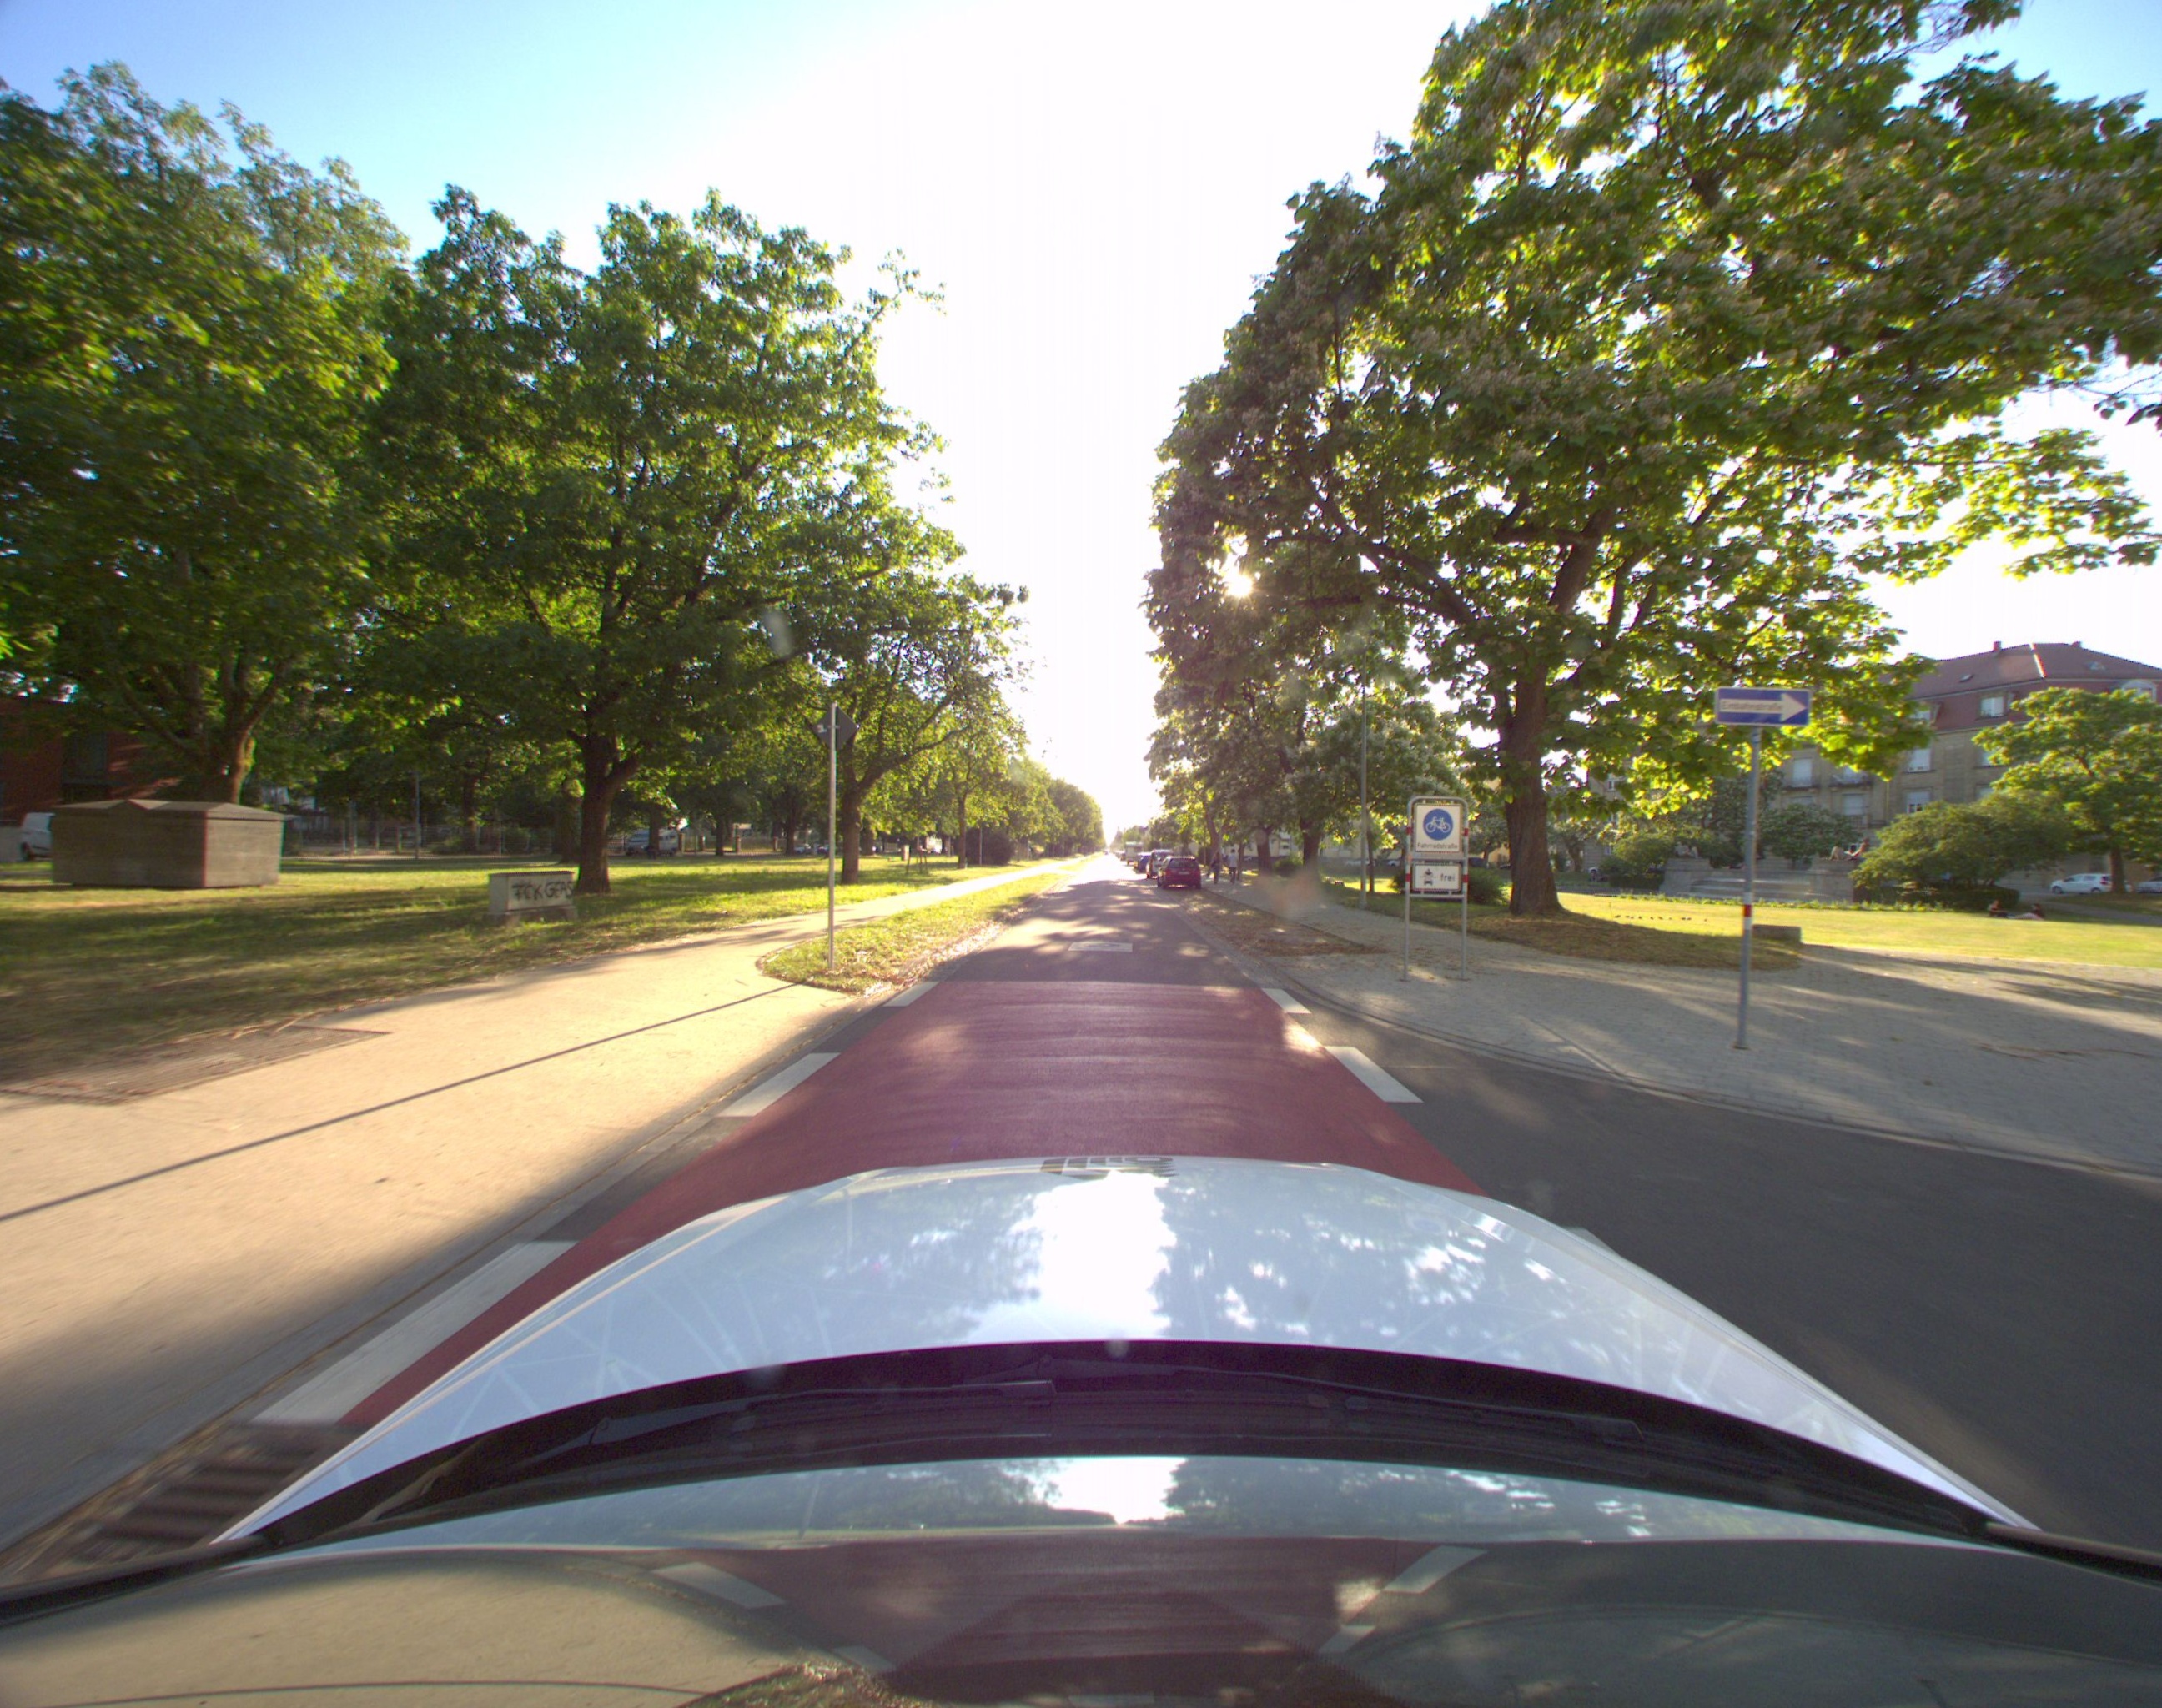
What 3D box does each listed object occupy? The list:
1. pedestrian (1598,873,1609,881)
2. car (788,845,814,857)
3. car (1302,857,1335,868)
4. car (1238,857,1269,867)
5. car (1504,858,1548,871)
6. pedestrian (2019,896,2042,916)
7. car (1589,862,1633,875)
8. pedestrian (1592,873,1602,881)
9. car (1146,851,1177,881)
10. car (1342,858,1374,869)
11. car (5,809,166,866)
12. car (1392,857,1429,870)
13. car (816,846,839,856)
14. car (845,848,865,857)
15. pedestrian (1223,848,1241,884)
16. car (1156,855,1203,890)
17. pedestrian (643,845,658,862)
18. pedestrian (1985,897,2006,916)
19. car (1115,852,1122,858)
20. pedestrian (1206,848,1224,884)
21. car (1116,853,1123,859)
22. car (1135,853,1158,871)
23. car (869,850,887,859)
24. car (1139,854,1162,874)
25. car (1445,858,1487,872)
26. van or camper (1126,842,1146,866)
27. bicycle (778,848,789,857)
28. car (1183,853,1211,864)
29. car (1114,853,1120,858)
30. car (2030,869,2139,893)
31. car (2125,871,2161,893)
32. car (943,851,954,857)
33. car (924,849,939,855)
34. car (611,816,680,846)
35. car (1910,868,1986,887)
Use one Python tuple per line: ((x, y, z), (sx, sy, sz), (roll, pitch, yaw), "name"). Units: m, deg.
((52.736, 2.352, 82.209), (0.585, 0.794, 0.665), (1, -1, -9), "pedestrian")
((-38.222, -0.381, 111.314), (1.985, 1.508, 4.003), (1, 0, 3), "car")
((35.455, 1.279, 121.543), (4.473, 1.569, 1.890), (1, 0, 20), "car")
((25.112, 1.143, 118.445), (4.162, 1.463, 1.700), (1, 0, 17), "car")
((54.096, 1.284, 98.989), (1.889, 1.453, 4.320), (1, 0, -36), "car")
((44.547, 2.448, 38.204), (0.571, 0.881, 0.681), (2, 0, 39), "pedestrian")
((63.452, 1.774, 97.541), (1.886, 1.453, 3.963), (1, 0, -29), "car")
((52.584, 2.333, 82.987), (0.585, 0.794, 0.665), (1, -1, -9), "pedestrian")
((5.046, 0.736, 51.497), (1.672, 1.740, 4.515), (1, 0, 2), "car")
((38.378, 1.306, 112.974), (3.949, 1.552, 1.620), (1, 0, 29), "car")
((-41.018, -0.672, 33.581), (4.911, 2.114, 2.691), (2, 0, 20), "car")
((46.495, 1.302, 115.045), (4.468, 1.746, 1.892), (0, -1, 37), "car")
((-37.854, -0.410, 121.596), (1.985, 1.508, 4.118), (1, 0, 3), "car")
((-36.963, -0.241, 133.355), (1.985, 1.508, 4.118), (1, 0, 3), "car")
((7.440, 0.597, 40.221), (0.722, 1.736, 0.732), (2, 0, 2), "pedestrian")
((4.487, 0.807, 37.658), (1.672, 1.486, 4.811), (1, 0, 2), "car")
((-26.305, -0.024, 49.803), (0.545, 0.987, 0.611), (1, -1, 8), "pedestrian")
((43.880, 2.520, 39.075), (0.571, 0.881, 0.681), (2, 0, 39), "pedestrian")
((9.730, 0.277, 210.926), (1.620, 1.410, 4.251), (1, 0, 2), "car")
((6.627, 0.590, 40.185), (0.750, 1.736, 0.732), (2, 0, 2), "pedestrian")
((9.358, 0.525, 199.543), (1.620, 1.410, 4.251), (1, 0, 2), "car")
((5.836, 0.746, 73.167), (1.726, 1.551, 4.423), (1, 0, 1), "car")
((-36.930, 0.099, 148.451), (1.985, 1.508, 4.118), (1, 0, 3), "car")
((5.650, 0.777, 66.914), (1.724, 1.551, 4.278), (1, 0, 3), "car")
((49.440, 1.362, 104.705), (1.891, 1.746, 4.470), (1, -1, -45), "car")
((7.031, 0.025, 104.457), (2.226, 2.904, 5.674), (1, -1, 1), "van or camper")
((-40.040, -0.251, 109.545), (0.655, 1.175, 2.333), (1, 0, -1), "bicycle")
((17.901, 0.708, 126.085), (4.174, 1.530, 2.003), (1, 0, 6), "car")
((10.873, 0.390, 246.964), (1.620, 1.410, 4.251), (1, 0, 2), "car")
((67.395, 1.780, 54.852), (1.803, 1.417, 4.962), (1, 0, 9), "car")
((81.362, 2.107, 60.888), (4.195, 1.623, 1.821), (1, 0, 2), "car")
((-34.253, -0.063, 211.056), (1.985, 1.508, 4.118), (1, 0, 3), "car")
((-36.195, -0.474, 197.585), (2.497, 1.508, 4.916), (1, 0, 3), "car")
((-39.596, -2.058, 74.267), (2.711, 2.463, 6.319), (1, 0, 1), "car")
((68.709, 1.846, 64.610), (1.806, 1.417, 4.098), (1, 0, 3), "car")
